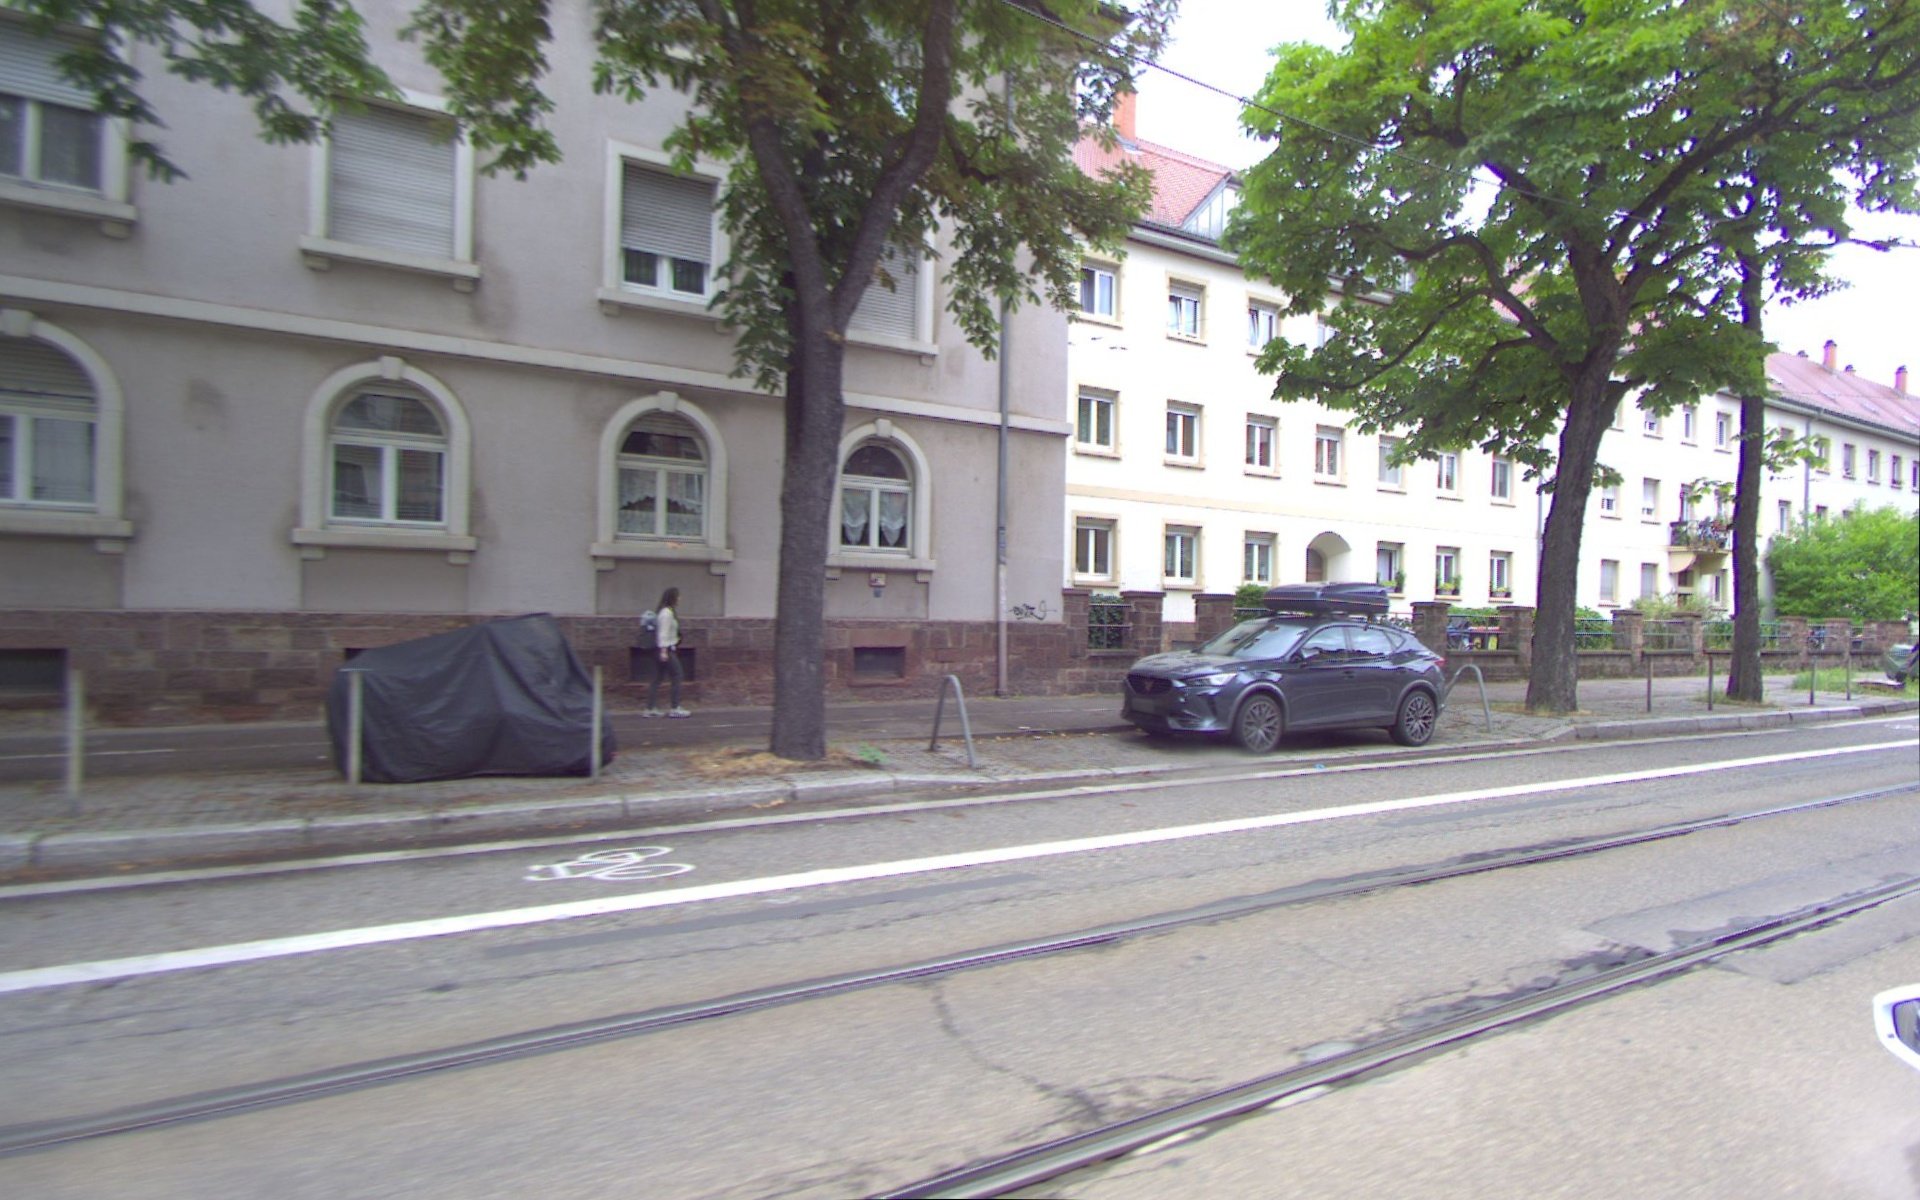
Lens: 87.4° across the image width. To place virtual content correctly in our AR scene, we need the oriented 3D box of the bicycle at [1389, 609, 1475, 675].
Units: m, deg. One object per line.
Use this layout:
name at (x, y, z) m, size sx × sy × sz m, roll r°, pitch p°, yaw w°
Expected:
bicycle at (10.480, 0.929, 22.259) m, size 2.116 × 1.400 × 0.624 m, roll 1°, pitch 0°, yaw -30°

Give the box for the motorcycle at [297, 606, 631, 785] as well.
motorcycle at (-3.898, 0.731, 8.144) m, size 2.284 × 1.305 × 0.863 m, roll 1°, pitch 1°, yaw -17°

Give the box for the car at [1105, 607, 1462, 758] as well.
car at (3.996, 0.906, 12.263) m, size 4.186 × 1.531 × 1.769 m, roll 1°, pitch 1°, yaw -29°

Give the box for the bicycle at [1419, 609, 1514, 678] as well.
bicycle at (10.894, 0.919, 21.582) m, size 2.115 × 1.400 × 0.789 m, roll 1°, pitch 0°, yaw -30°

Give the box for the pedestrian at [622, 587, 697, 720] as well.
pedestrian at (-3.494, 0.603, 11.684) m, size 0.714 × 1.487 × 0.562 m, roll 1°, pitch 0°, yaw -30°

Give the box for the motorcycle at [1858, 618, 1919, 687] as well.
motorcycle at (22.204, 1.222, 23.225) m, size 0.908 × 1.531 × 2.273 m, roll 3°, pitch 0°, yaw 5°

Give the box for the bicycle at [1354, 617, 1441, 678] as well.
bicycle at (10.031, 1.069, 22.987) m, size 2.117 × 1.315 × 0.744 m, roll 1°, pitch 0°, yaw -32°
